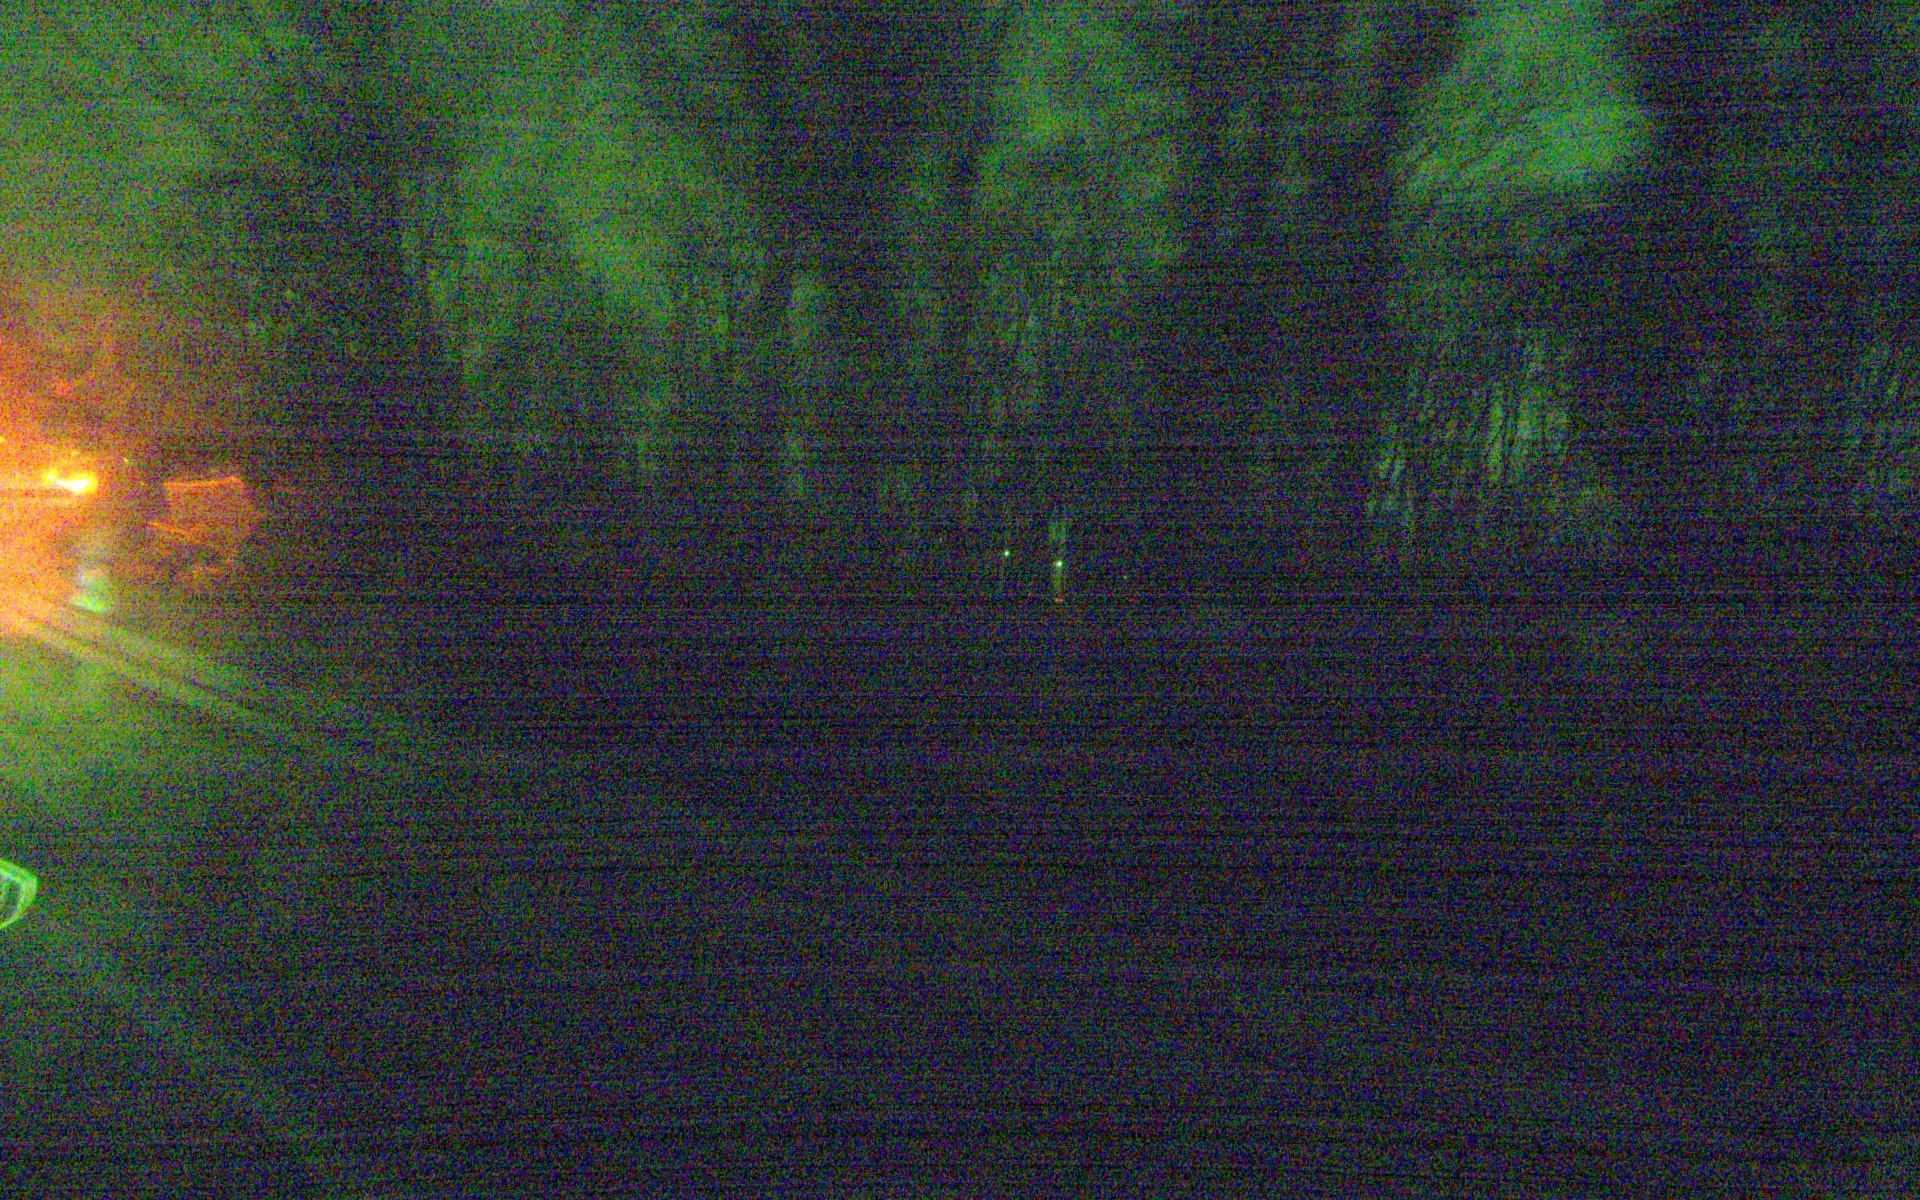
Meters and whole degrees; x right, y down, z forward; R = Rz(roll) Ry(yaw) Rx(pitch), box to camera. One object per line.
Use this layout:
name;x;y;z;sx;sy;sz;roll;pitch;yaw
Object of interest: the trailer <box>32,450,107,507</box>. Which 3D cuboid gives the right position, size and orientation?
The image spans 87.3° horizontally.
trailer;-43.506;-5.825;49.374;2.066;2.039;10.536;4;1;-38
